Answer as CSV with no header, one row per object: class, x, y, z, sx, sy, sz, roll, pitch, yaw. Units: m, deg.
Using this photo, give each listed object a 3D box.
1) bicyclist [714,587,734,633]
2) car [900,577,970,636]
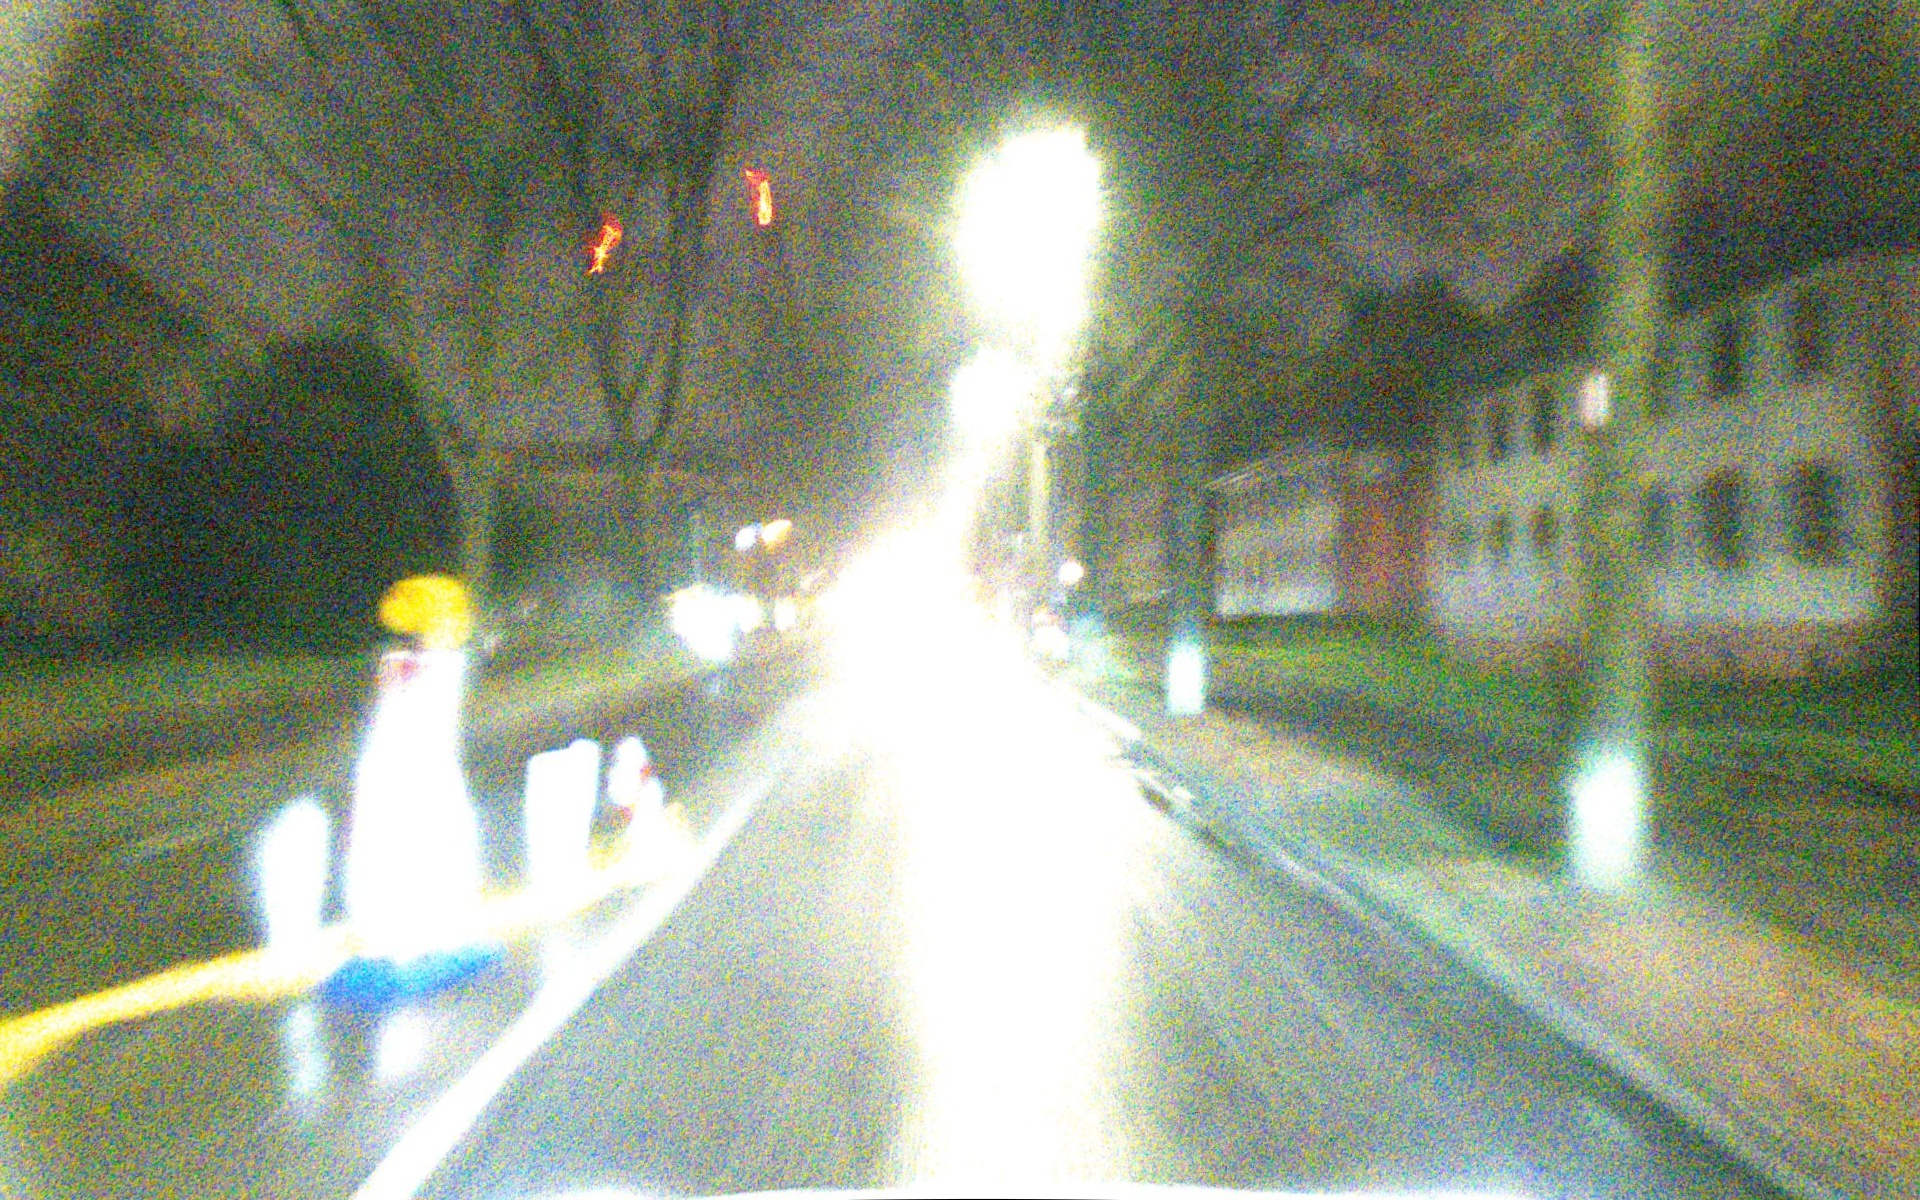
bicyclist,-8.682,0.361,60.816,0.623,1.622,0.960,1,1,-2
car,-0.797,0.199,50.547,1.954,1.713,3.997,1,0,-4
